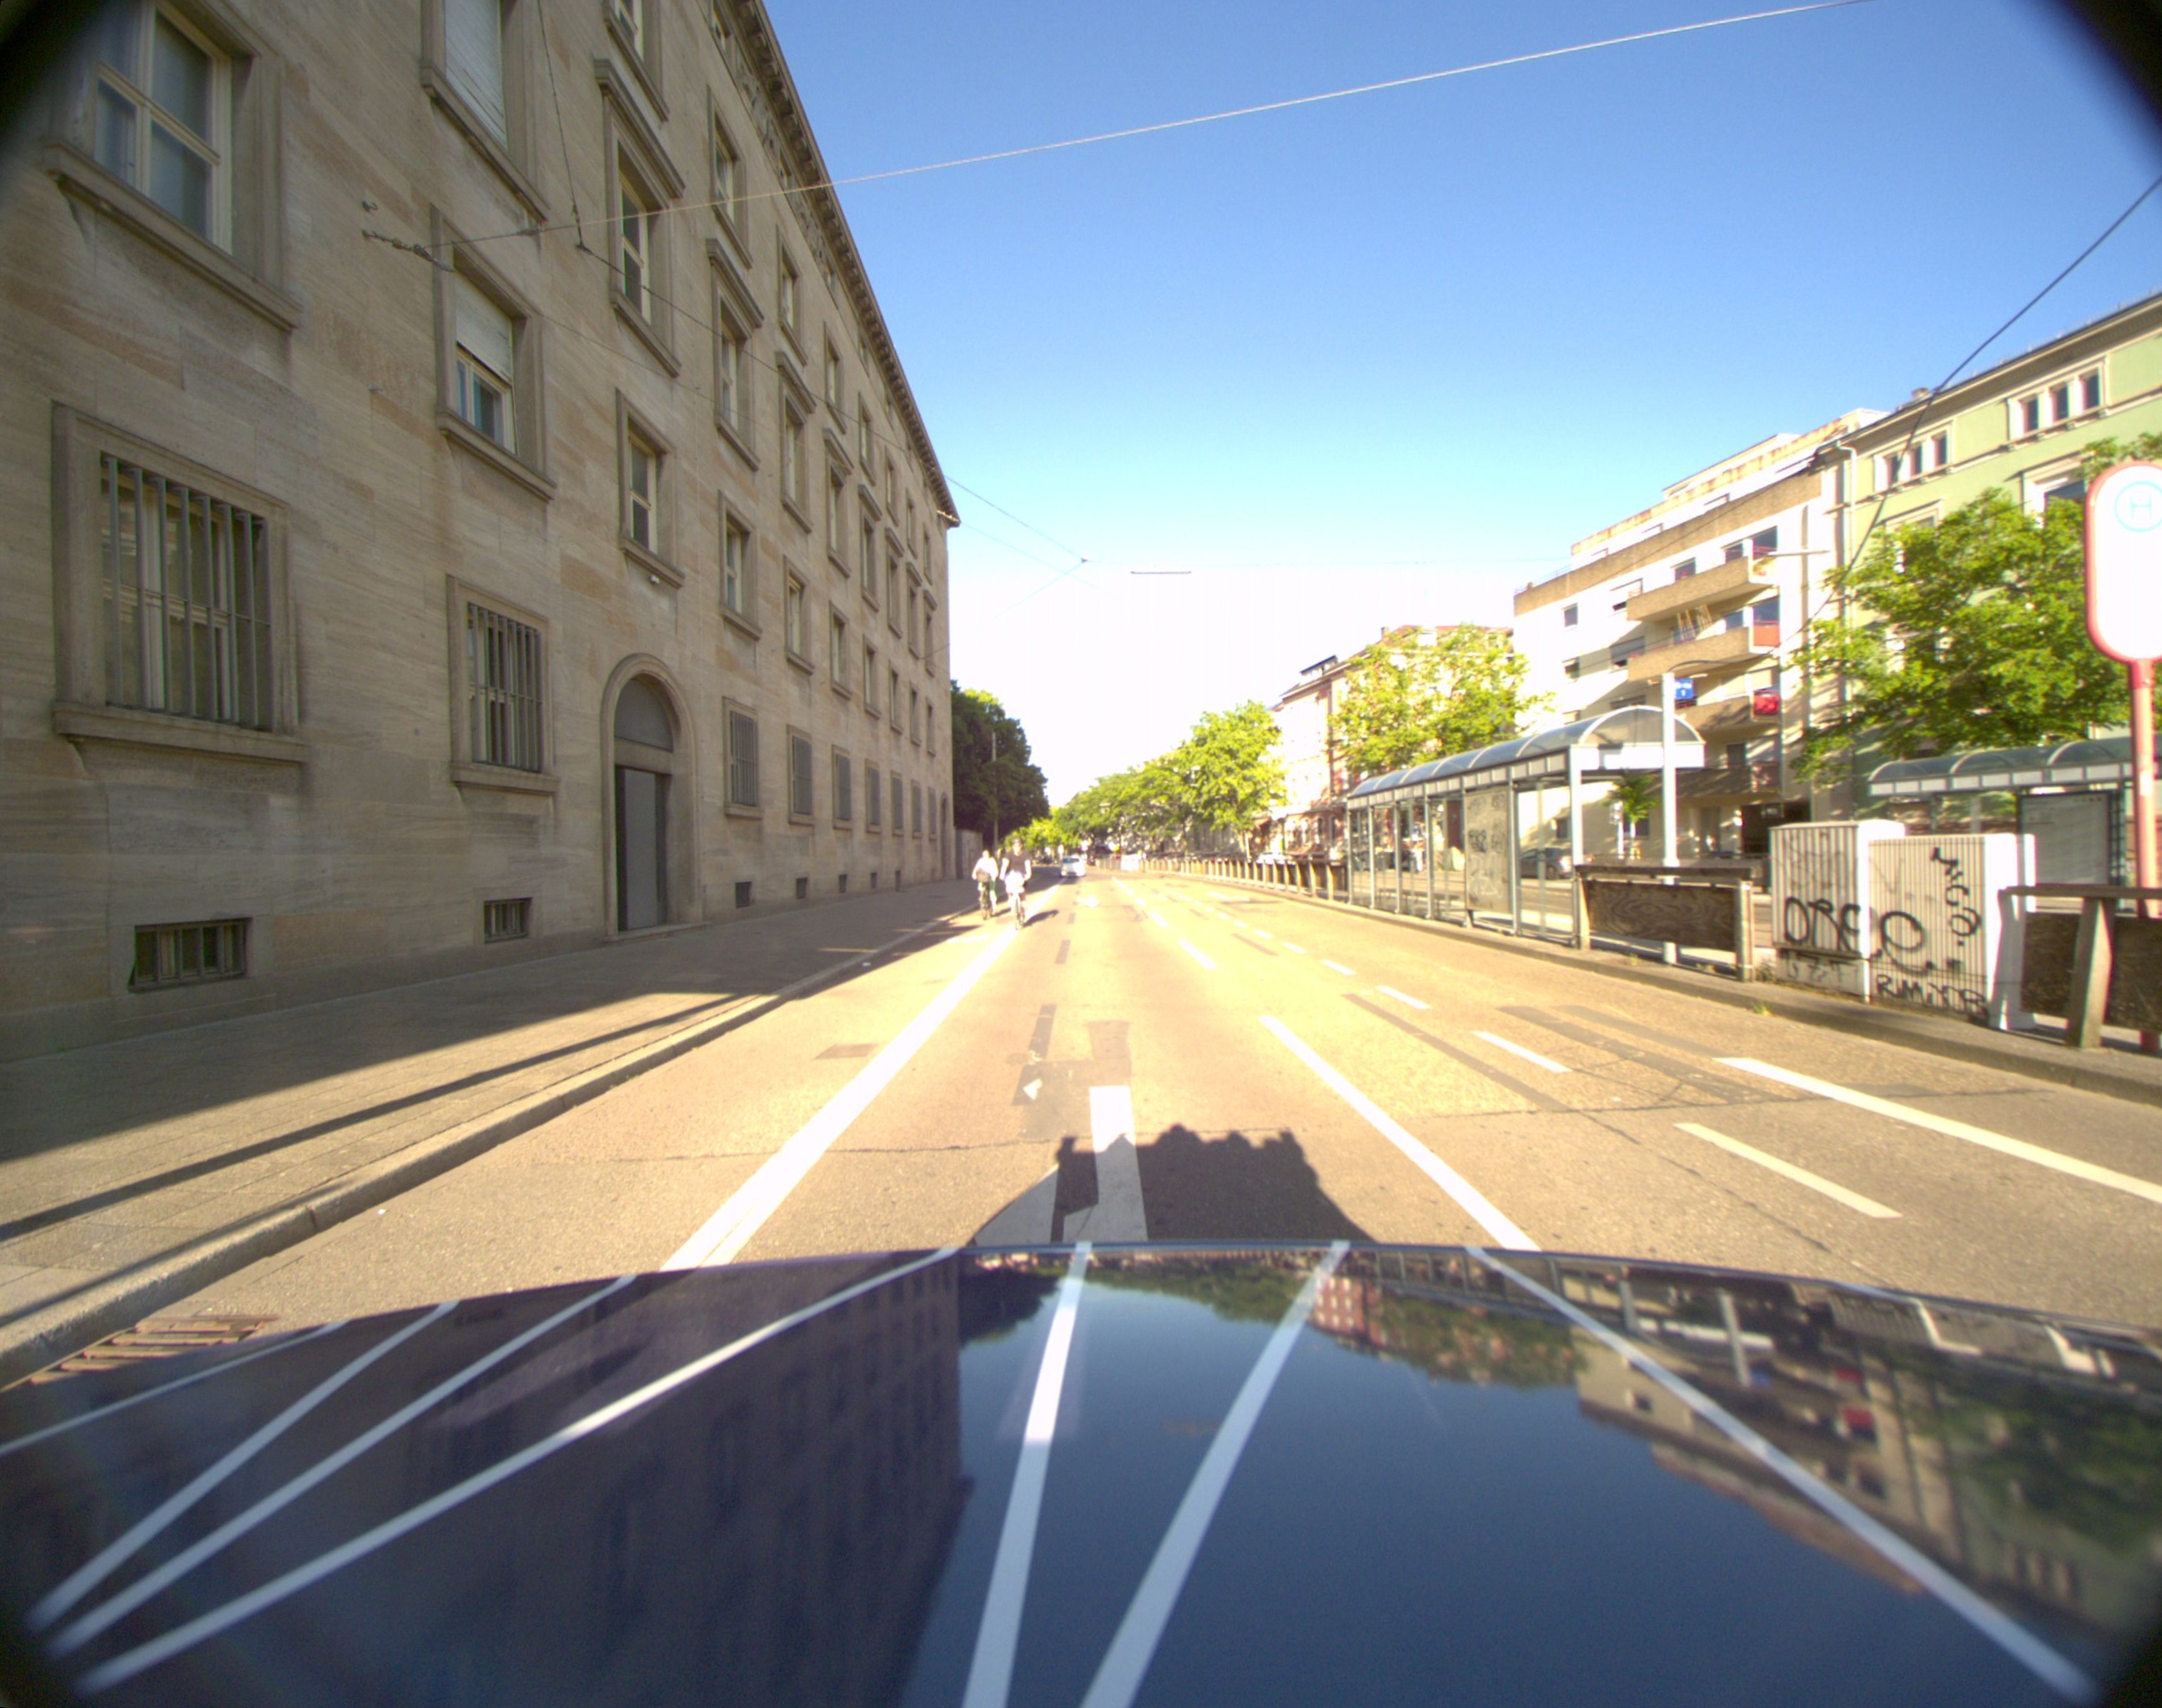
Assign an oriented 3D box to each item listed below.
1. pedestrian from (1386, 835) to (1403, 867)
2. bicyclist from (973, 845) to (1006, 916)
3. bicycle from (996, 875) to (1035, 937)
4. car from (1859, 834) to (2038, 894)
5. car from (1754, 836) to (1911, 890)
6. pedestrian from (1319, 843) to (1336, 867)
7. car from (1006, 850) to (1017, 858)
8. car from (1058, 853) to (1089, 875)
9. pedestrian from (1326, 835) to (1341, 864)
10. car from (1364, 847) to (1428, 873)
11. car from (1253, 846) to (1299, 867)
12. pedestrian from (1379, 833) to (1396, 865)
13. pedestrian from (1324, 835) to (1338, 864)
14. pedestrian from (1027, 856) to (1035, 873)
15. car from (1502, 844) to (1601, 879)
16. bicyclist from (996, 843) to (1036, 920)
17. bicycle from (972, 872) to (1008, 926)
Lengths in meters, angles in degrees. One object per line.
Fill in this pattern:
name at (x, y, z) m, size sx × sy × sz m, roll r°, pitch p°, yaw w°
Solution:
pedestrian at (21.243, -0.202, 51.489) m, size 0.813 × 2.194 × 0.756 m, roll -1°, pitch 1°, yaw -10°
bicyclist at (-2.285, 0.645, 19.062) m, size 0.625 × 1.729 × 0.688 m, roll -3°, pitch 1°, yaw 1°
bicycle at (-1.343, 1.049, 15.853) m, size 0.625 × 1.167 × 1.566 m, roll -1°, pitch 0°, yaw 1°
car at (24.753, 0.259, 21.720) m, size 4.002 × 1.573 × 1.761 m, roll -1°, pitch 0°, yaw -14°
car at (23.954, 0.261, 24.261) m, size 4.002 × 1.573 × 1.761 m, roll -1°, pitch 0°, yaw -14°
pedestrian at (17.937, 0.059, 55.291) m, size 0.855 × 1.710 × 1.019 m, roll -1°, pitch 1°, yaw -8°
car at (-16.745, -0.076, 181.987) m, size 2.001 × 1.789 × 3.995 m, roll -1°, pitch 0°, yaw -13°
car at (-0.591, 0.681, 53.787) m, size 1.771 × 1.429 × 3.832 m, roll -1°, pitch 0°, yaw -7°
pedestrian at (19.230, -0.335, 57.787) m, size 0.813 × 2.194 × 0.756 m, roll -1°, pitch 1°, yaw -10°
car at (18.477, 0.331, 44.706) m, size 1.609 × 1.388 × 3.996 m, roll -1°, pitch 0°, yaw -9°
car at (16.334, 0.189, 63.578) m, size 4.134 × 1.698 × 1.848 m, roll -1°, pitch 1°, yaw -45°
pedestrian at (21.155, -0.348, 52.404) m, size 0.813 × 2.194 × 0.756 m, roll -1°, pitch 1°, yaw -10°
pedestrian at (19.451, -0.359, 59.145) m, size 0.812 × 2.194 × 0.756 m, roll -1°, pitch 1°, yaw -4°
pedestrian at (-3.863, 0.823, 58.784) m, size 0.548 × 1.327 × 0.587 m, roll -1°, pitch 1°, yaw 7°
car at (20.918, 0.317, 33.977) m, size 1.654 × 1.419 × 3.737 m, roll -1°, pitch 0°, yaw -11°
bicyclist at (-1.352, 0.563, 15.935) m, size 0.728 × 1.570 × 0.775 m, roll -1°, pitch 1°, yaw 1°
bicycle at (-2.269, 1.105, 19.061) m, size 0.625 × 1.214 × 1.659 m, roll -3°, pitch 1°, yaw 1°
